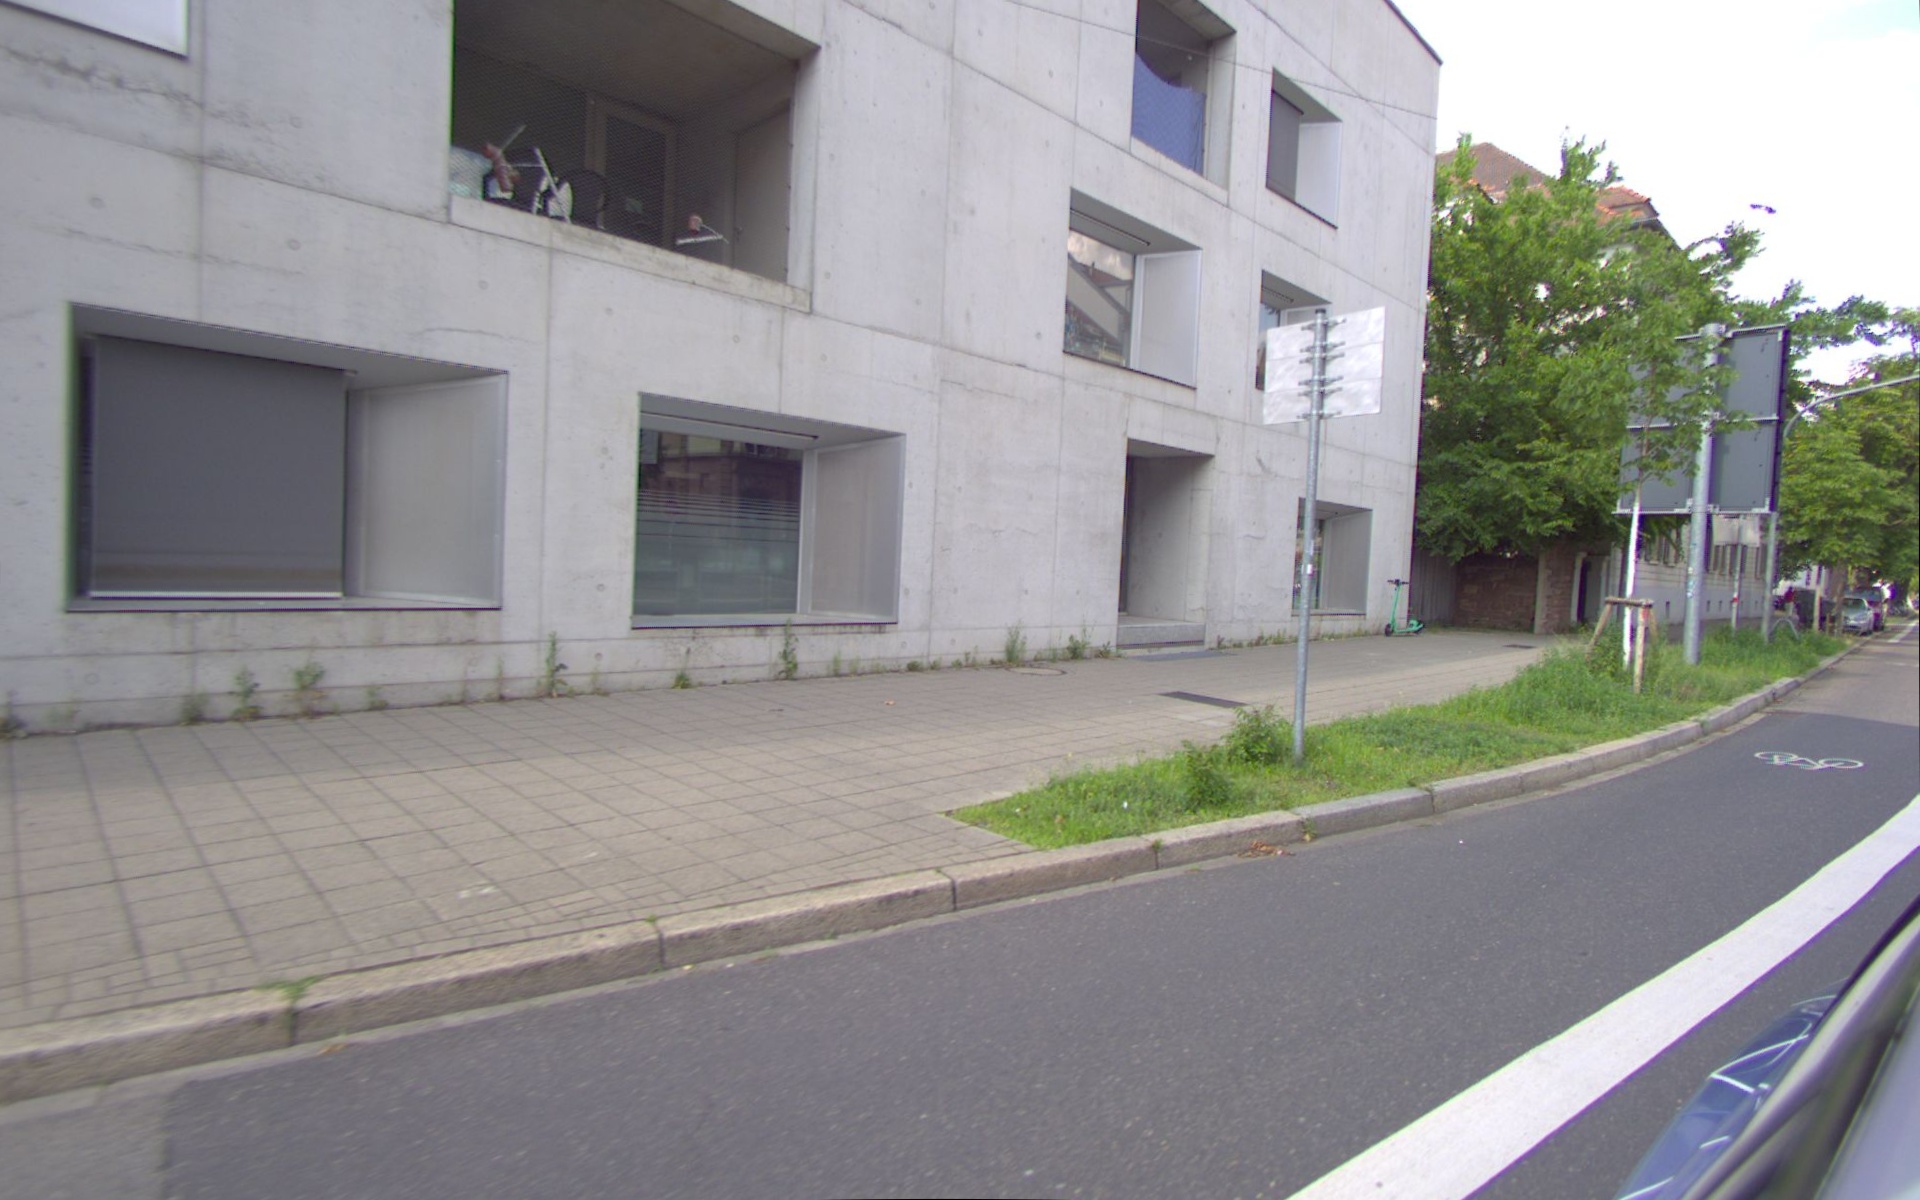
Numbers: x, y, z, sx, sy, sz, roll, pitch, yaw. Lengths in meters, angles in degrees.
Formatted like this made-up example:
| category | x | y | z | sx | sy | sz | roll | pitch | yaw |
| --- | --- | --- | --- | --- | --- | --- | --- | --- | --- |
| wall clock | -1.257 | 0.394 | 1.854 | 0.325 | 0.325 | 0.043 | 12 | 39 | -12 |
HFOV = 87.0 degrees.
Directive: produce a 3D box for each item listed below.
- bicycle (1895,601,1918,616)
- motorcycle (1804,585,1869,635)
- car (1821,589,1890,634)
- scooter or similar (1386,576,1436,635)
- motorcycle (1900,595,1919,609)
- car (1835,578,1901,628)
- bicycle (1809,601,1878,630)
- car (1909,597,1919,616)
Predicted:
| category | x | y | z | sx | sy | sz | roll | pitch | yaw |
| --- | --- | --- | --- | --- | --- | --- | --- | --- | --- |
| bicycle | 73.981 | 0.663 | 79.136 | 1.268 | 1.079 | 0.470 | 4 | 3 | 45 |
| motorcycle | 29.215 | 0.328 | 33.724 | 2.393 | 1.560 | 0.984 | 1 | 2 | -34 |
| car | 34.252 | 0.412 | 38.662 | 1.708 | 1.516 | 4.712 | 5 | 3 | 44 |
| scooter or similar | 9.326 | 0.116 | 20.917 | 1.125 | 1.195 | 0.324 | 1 | 2 | -33 |
| motorcycle | 107.699 | 0.236 | 114.486 | 0.795 | 1.512 | 2.071 | 2 | 2 | 1 |
| car | 40.126 | 0.108 | 44.673 | 1.896 | 1.964 | 4.871 | 5 | 3 | 44 |
| bicycle | 31.612 | 0.537 | 36.228 | 0.680 | 0.913 | 1.780 | 0 | 3 | -42 |
| car | 79.169 | 0.555 | 83.194 | 1.586 | 1.462 | 3.836 | 4 | 3 | 44 |
